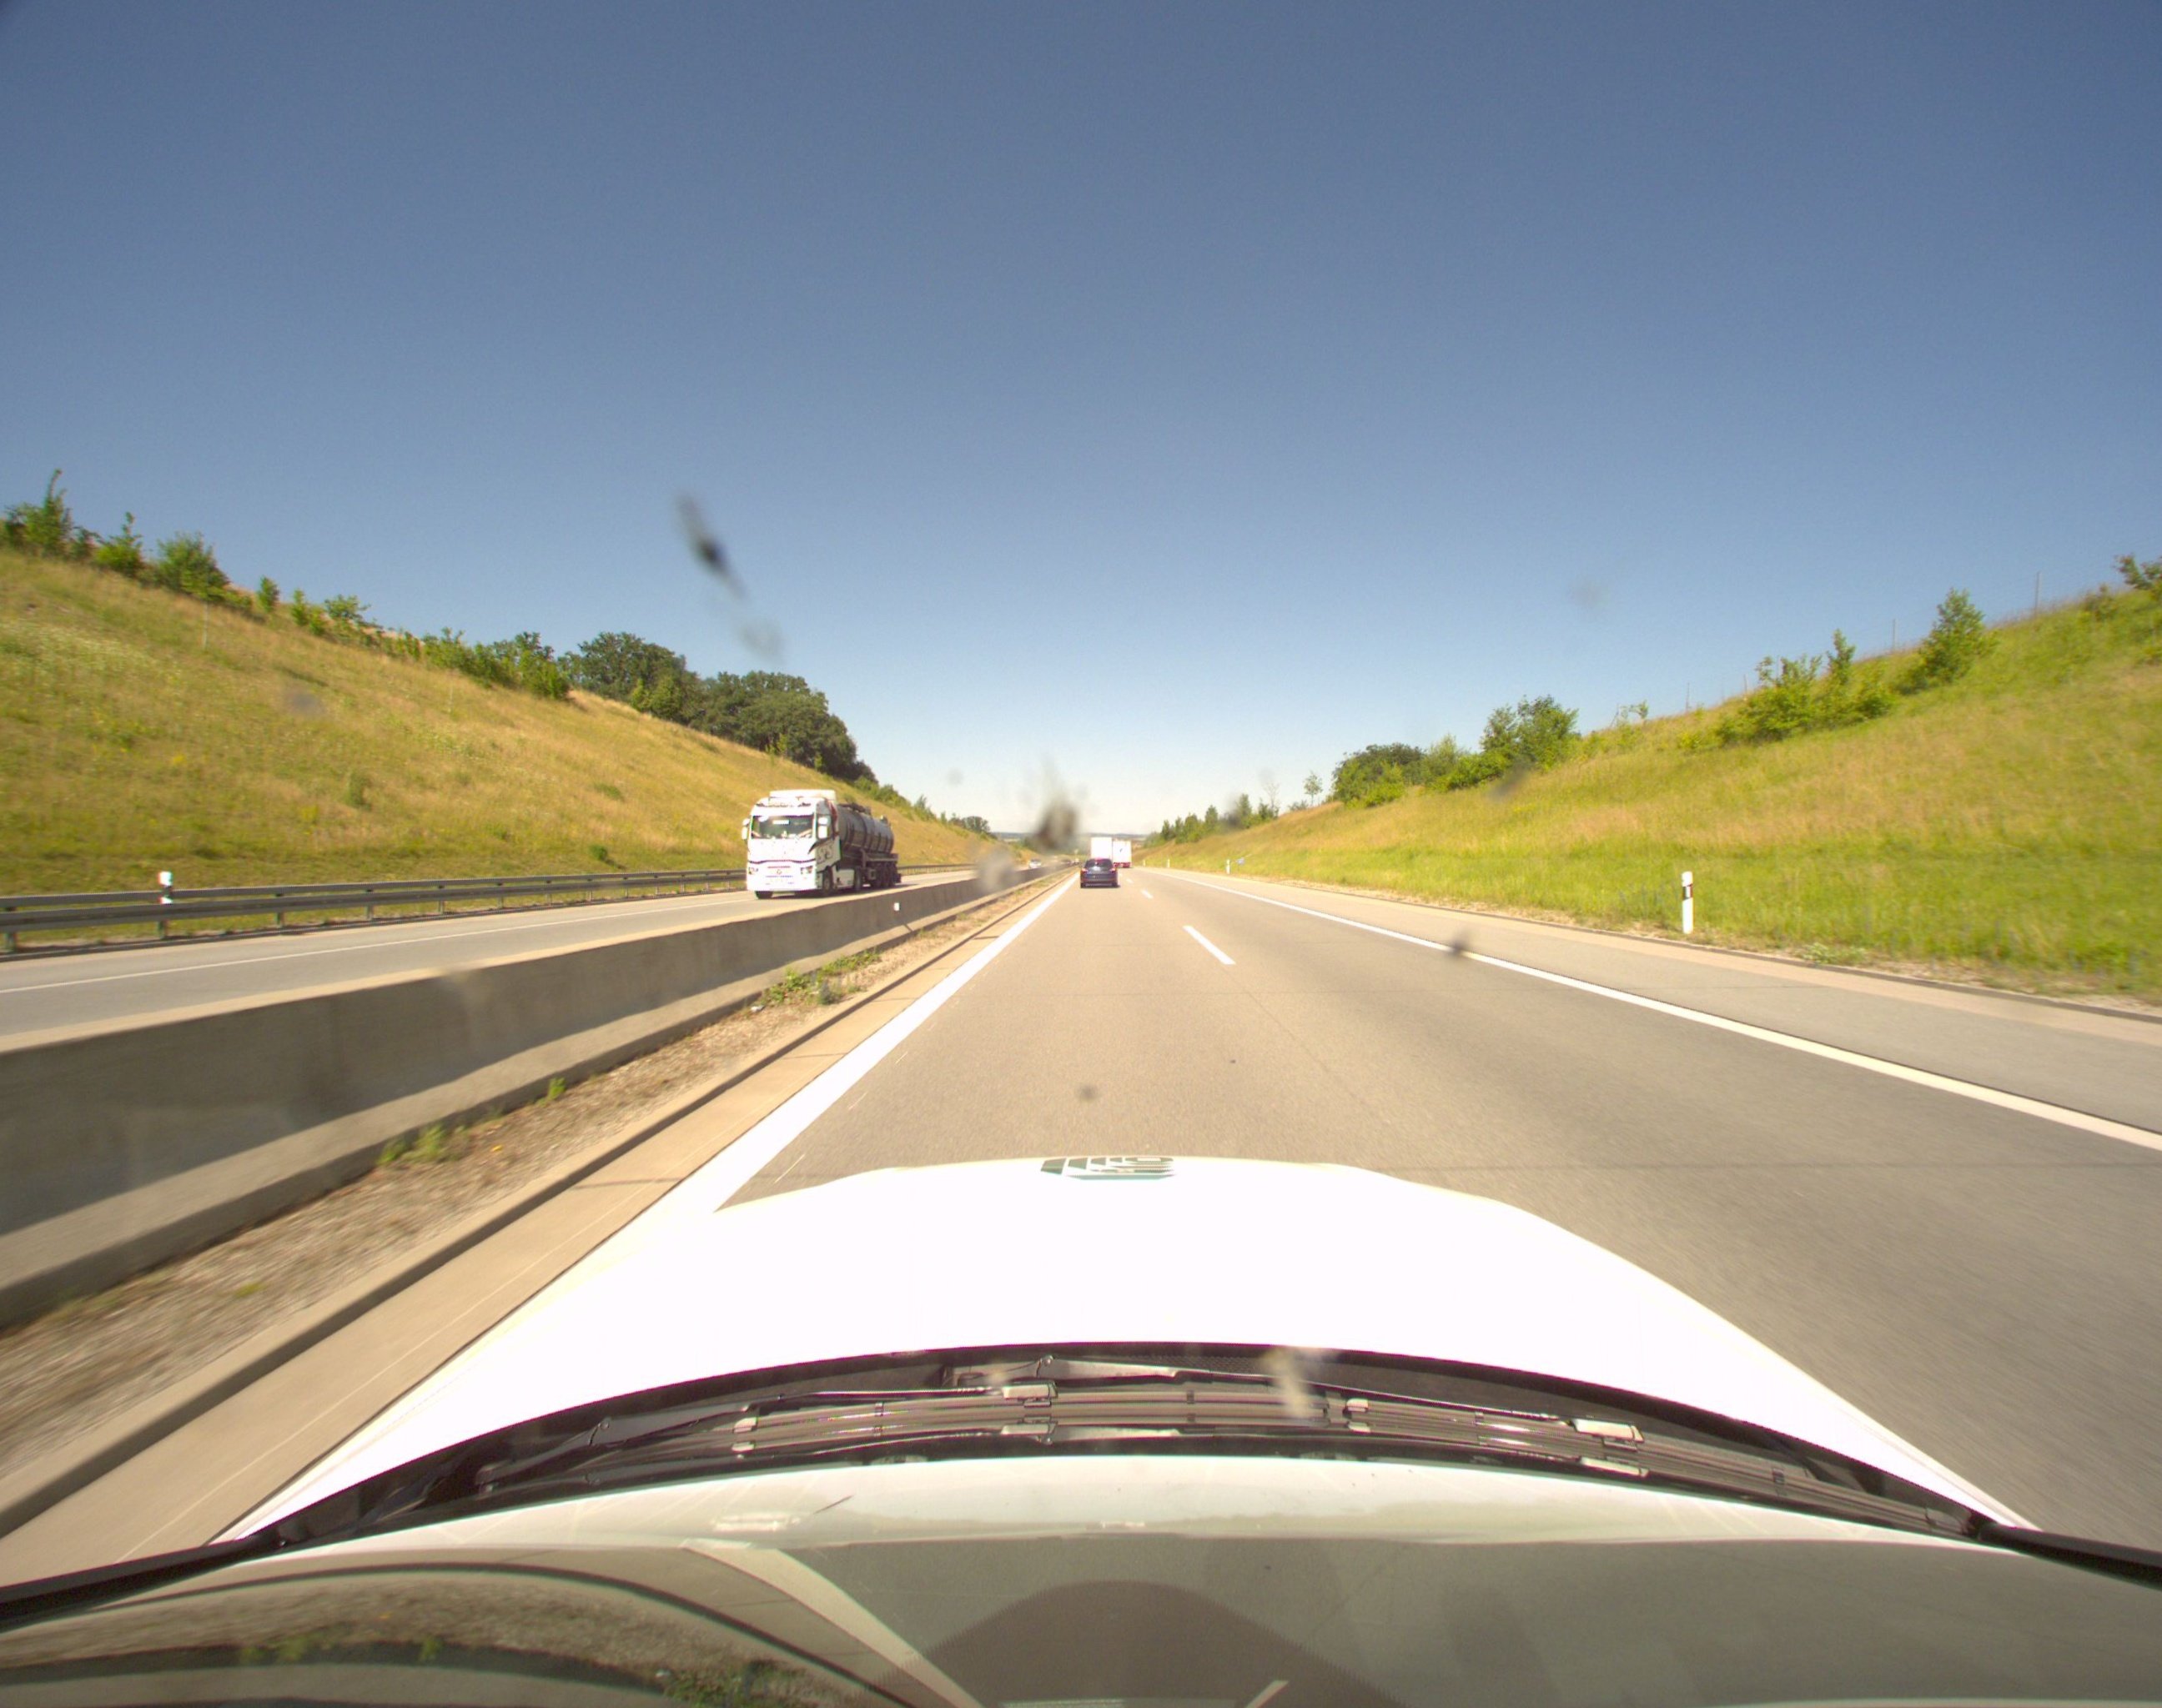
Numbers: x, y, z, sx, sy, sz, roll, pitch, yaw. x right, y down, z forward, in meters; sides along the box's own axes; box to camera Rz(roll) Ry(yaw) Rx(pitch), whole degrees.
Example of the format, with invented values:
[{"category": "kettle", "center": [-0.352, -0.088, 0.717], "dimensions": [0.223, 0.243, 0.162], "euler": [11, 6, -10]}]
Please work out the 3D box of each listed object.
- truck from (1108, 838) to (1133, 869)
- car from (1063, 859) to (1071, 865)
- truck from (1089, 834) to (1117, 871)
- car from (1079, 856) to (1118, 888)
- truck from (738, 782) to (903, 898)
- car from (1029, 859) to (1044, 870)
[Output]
[{"category": "truck", "center": [5.962, 0.001, 123.195], "dimensions": [3.589, 4.381, 11.242], "euler": [0, -1, 3]}, {"category": "car", "center": [-3.437, 1.899, 199.125], "dimensions": [1.848, 1.461, 4.768], "euler": [0, 0, 0]}, {"category": "truck", "center": [2.852, -0.156, 102.589], "dimensions": [3.197, 4.381, 11.243], "euler": [0, -1, 3]}, {"category": "car", "center": [0.819, 0.856, 39.746], "dimensions": [1.771, 1.441, 3.787], "euler": [-1, 0, -1]}, {"category": "truck", "center": [-10.271, -0.424, 34.054], "dimensions": [2.747, 3.941, 12.447], "euler": [0, 0, 1]}, {"category": "car", "center": [-6.038, 1.422, 111.578], "dimensions": [1.848, 1.461, 4.727], "euler": [0, 0, 0]}]
